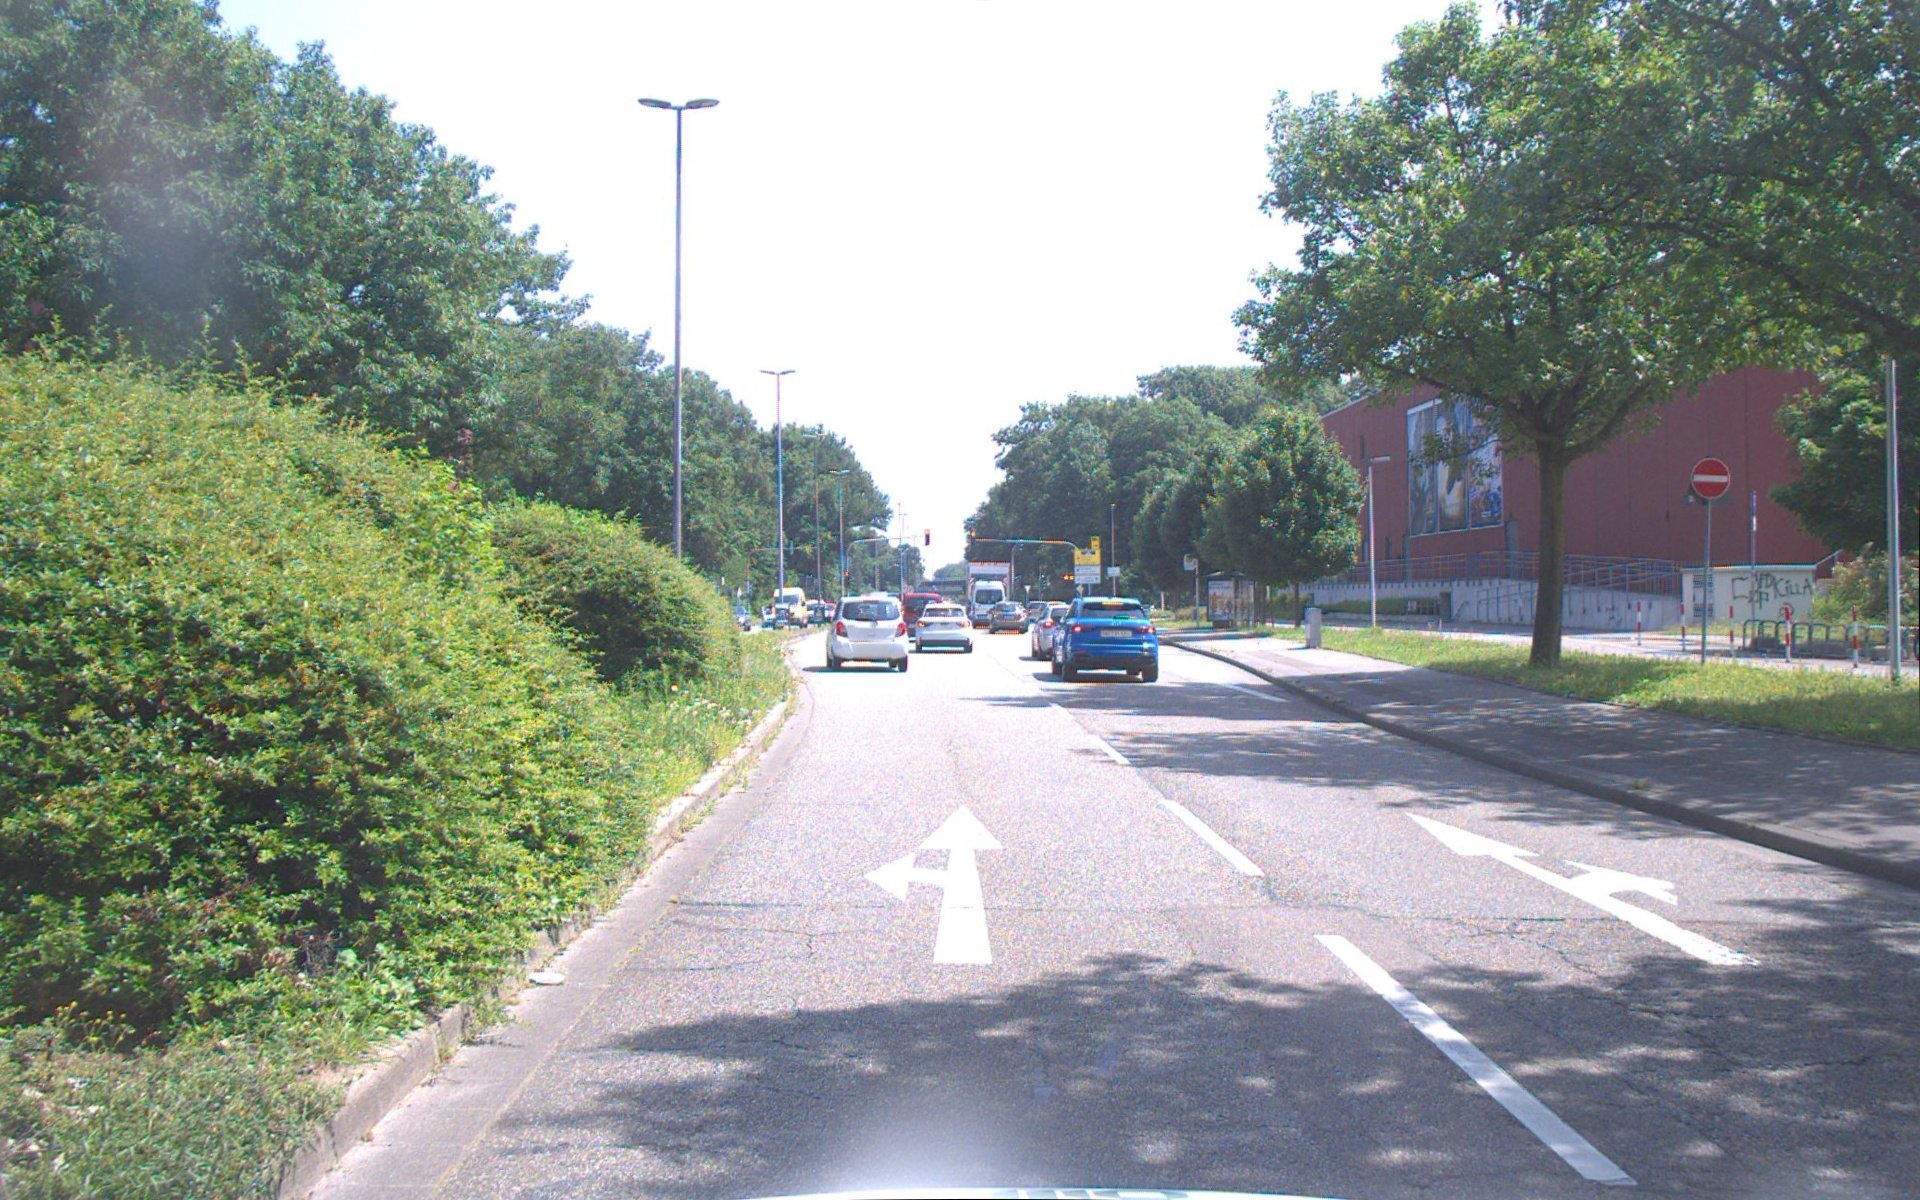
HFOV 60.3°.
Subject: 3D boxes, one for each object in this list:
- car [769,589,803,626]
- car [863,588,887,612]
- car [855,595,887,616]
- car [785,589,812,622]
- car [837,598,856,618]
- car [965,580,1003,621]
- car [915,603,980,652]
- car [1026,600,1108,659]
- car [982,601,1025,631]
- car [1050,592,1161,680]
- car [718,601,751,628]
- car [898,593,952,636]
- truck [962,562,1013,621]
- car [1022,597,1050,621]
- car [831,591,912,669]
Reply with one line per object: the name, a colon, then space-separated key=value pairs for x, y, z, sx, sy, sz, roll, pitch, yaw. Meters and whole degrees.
car: x=-11.028 y=0.480 z=105.009 sx=1.743 sy=2.322 sz=4.751 roll=0 pitch=-1 yaw=-1
car: x=-7.526 y=0.030 z=146.440 sx=1.953 sy=2.049 sz=3.999 roll=-1 pitch=0 yaw=-1
car: x=-5.904 y=0.376 z=110.264 sx=1.953 sy=1.310 sz=3.999 roll=-1 pitch=0 yaw=-1
car: x=-11.696 y=0.431 z=119.826 sx=1.743 sy=2.322 sz=3.998 roll=0 pitch=-1 yaw=-3
car: x=-7.980 y=0.531 z=116.234 sx=1.341 sy=1.331 sz=2.691 roll=-1 pitch=0 yaw=-4
car: x=1.360 y=0.015 z=95.074 sx=1.953 sy=2.295 sz=3.999 roll=-1 pitch=0 yaw=-1
car: x=-0.387 y=0.808 z=49.361 sx=1.846 sy=1.378 sz=3.999 roll=0 pitch=-1 yaw=-1
car: x=2.785 y=0.757 z=43.804 sx=1.828 sy=1.499 sz=3.998 roll=0 pitch=-1 yaw=-2
car: x=2.076 y=0.759 z=79.623 sx=1.828 sy=1.333 sz=3.999 roll=-1 pitch=0 yaw=-2
car: x=2.816 y=0.689 z=32.760 sx=1.772 sy=1.621 sz=4.348 roll=0 pitch=-1 yaw=-1
car: x=-14.415 y=0.908 z=105.711 sx=1.676 sy=1.691 sz=3.998 roll=0 pitch=-1 yaw=-2
car: x=-1.353 y=0.535 z=62.183 sx=1.760 sy=1.550 sz=3.995 roll=0 pitch=-1 yaw=-5
truck: x=1.665 y=-0.533 z=105.600 sx=2.873 sy=3.564 sz=9.155 roll=-1 pitch=0 yaw=-1
car: x=4.966 y=0.557 z=108.508 sx=1.600 sy=1.489 sz=3.999 roll=-1 pitch=0 yaw=-1
car: x=-1.933 y=0.618 z=35.335 sx=1.606 sy=1.579 sz=3.321 roll=0 pitch=-1 yaw=-5
